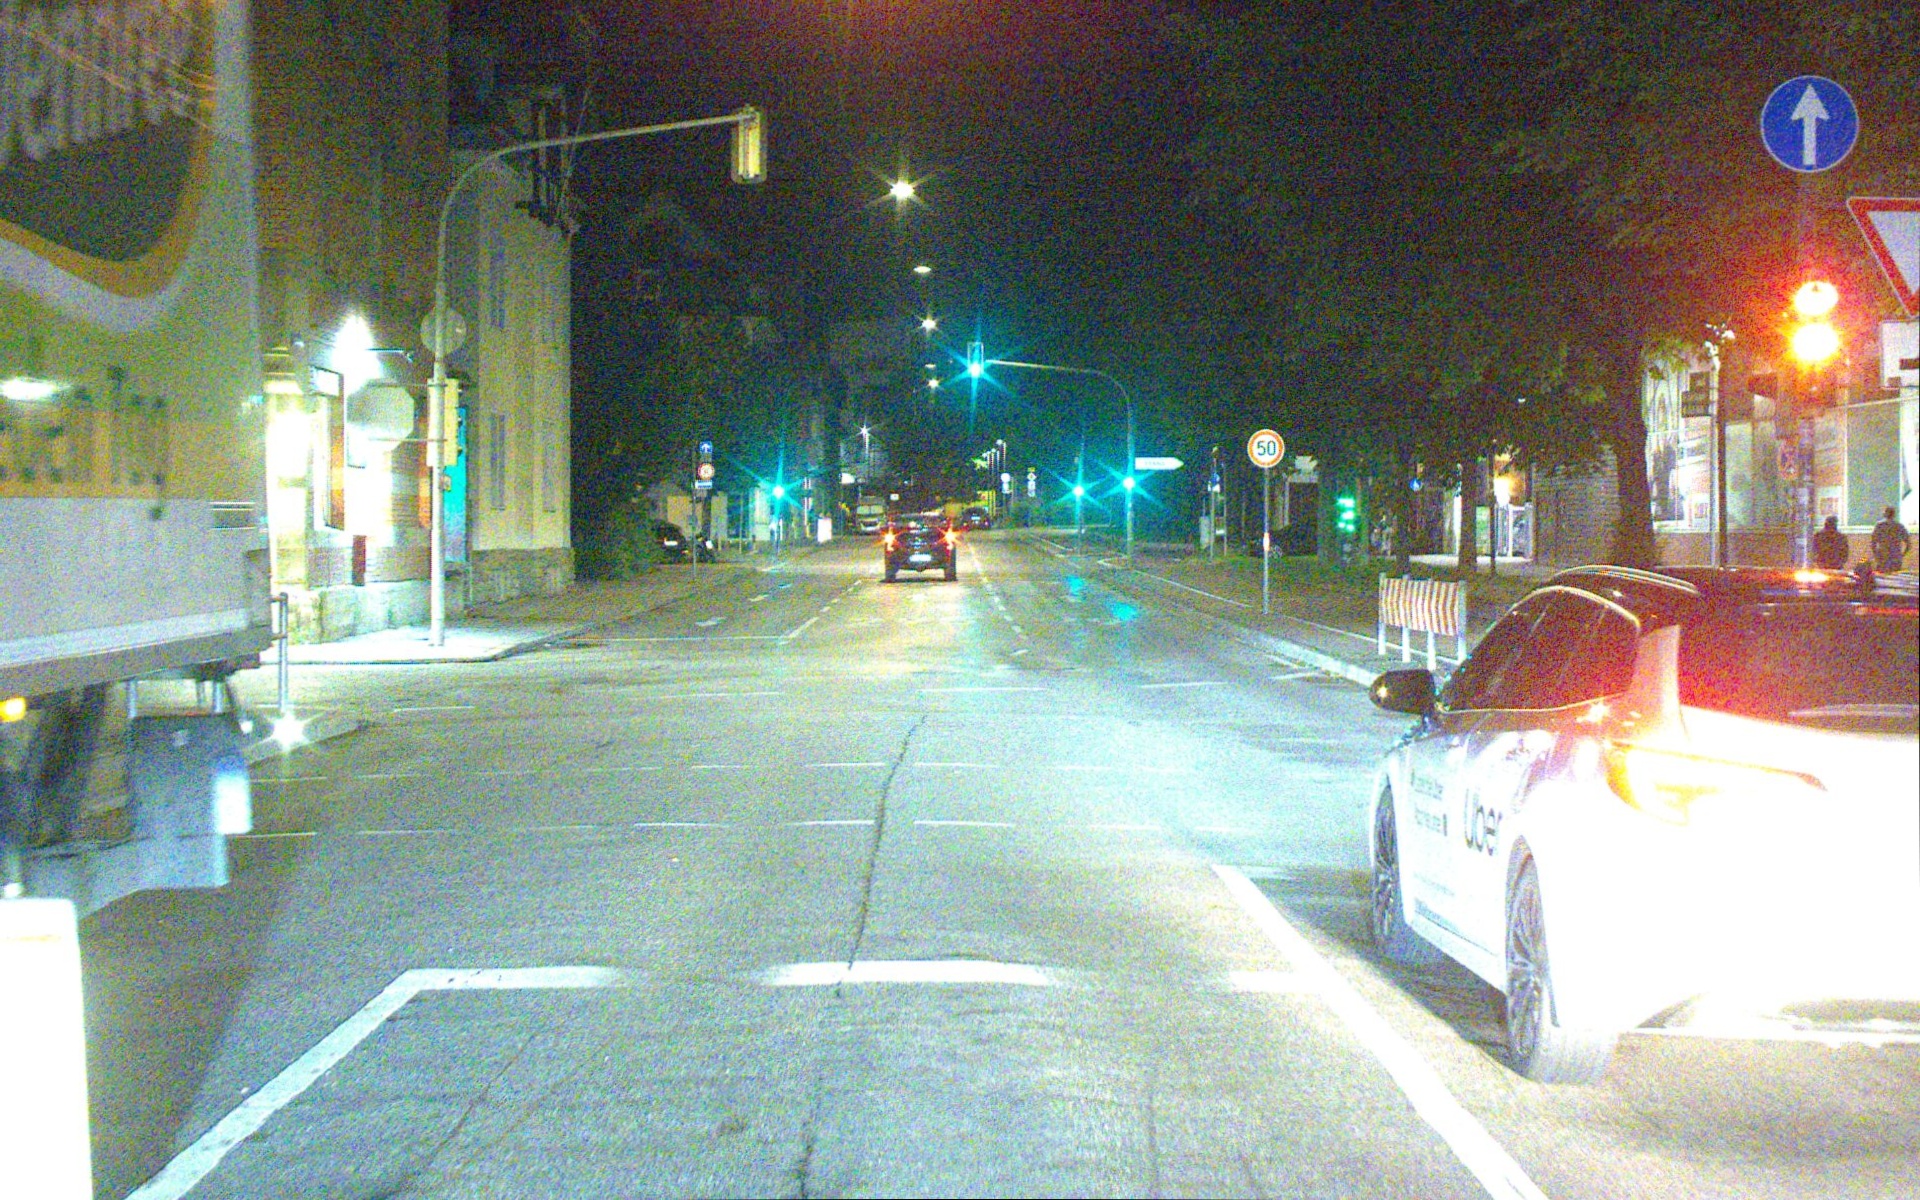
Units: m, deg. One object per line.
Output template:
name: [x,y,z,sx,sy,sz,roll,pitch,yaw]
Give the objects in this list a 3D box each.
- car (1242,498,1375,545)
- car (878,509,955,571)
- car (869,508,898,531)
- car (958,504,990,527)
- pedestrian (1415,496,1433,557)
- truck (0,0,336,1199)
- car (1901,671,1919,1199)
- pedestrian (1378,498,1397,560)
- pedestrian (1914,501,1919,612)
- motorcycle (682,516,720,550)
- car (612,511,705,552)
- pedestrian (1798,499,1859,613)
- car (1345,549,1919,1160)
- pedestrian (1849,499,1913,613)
car: [10.761,-2.431,106.295,3.987,1.381,1.771,-1,2,3]
car: [-1.191,-1.619,92.335,1.993,1.634,4.001,0,1,-2]
car: [-4.862,-5.128,218.752,1.777,1.385,4.001,-1,2,-2]
car: [0.948,-5.733,233.518,1.993,1.590,4.001,0,1,-3]
pedestrian: [15.297,-2.420,113.363,0.487,2.007,0.551,0,1,-1]
truck: [-3.375,-0.497,5.383,2.755,3.705,10.113,-1,1,1]
car: [2.418,0.723,3.731,1.637,1.489,4.000,2,1,-1]
pedestrian: [14.110,-2.341,113.382,0.531,2.007,0.670,0,1,-1]
pedestrian: [15.598,-0.689,54.092,0.901,1.763,0.907,-1,1,0]
motorcycle: [-9.435,-2.442,125.196,0.781,1.200,2.450,-1,2,-19]
car: [-11.252,-2.559,128.020,1.803,1.481,4.000,-2,2,-32]
pedestrian: [13.609,-0.700,53.876,0.714,1.763,0.907,-1,1,0]
car: [2.350,0.603,10.466,1.729,1.430,4.211,2,1,-2]
pedestrian: [14.481,-0.701,54.060,0.738,1.763,0.907,-1,1,0]
